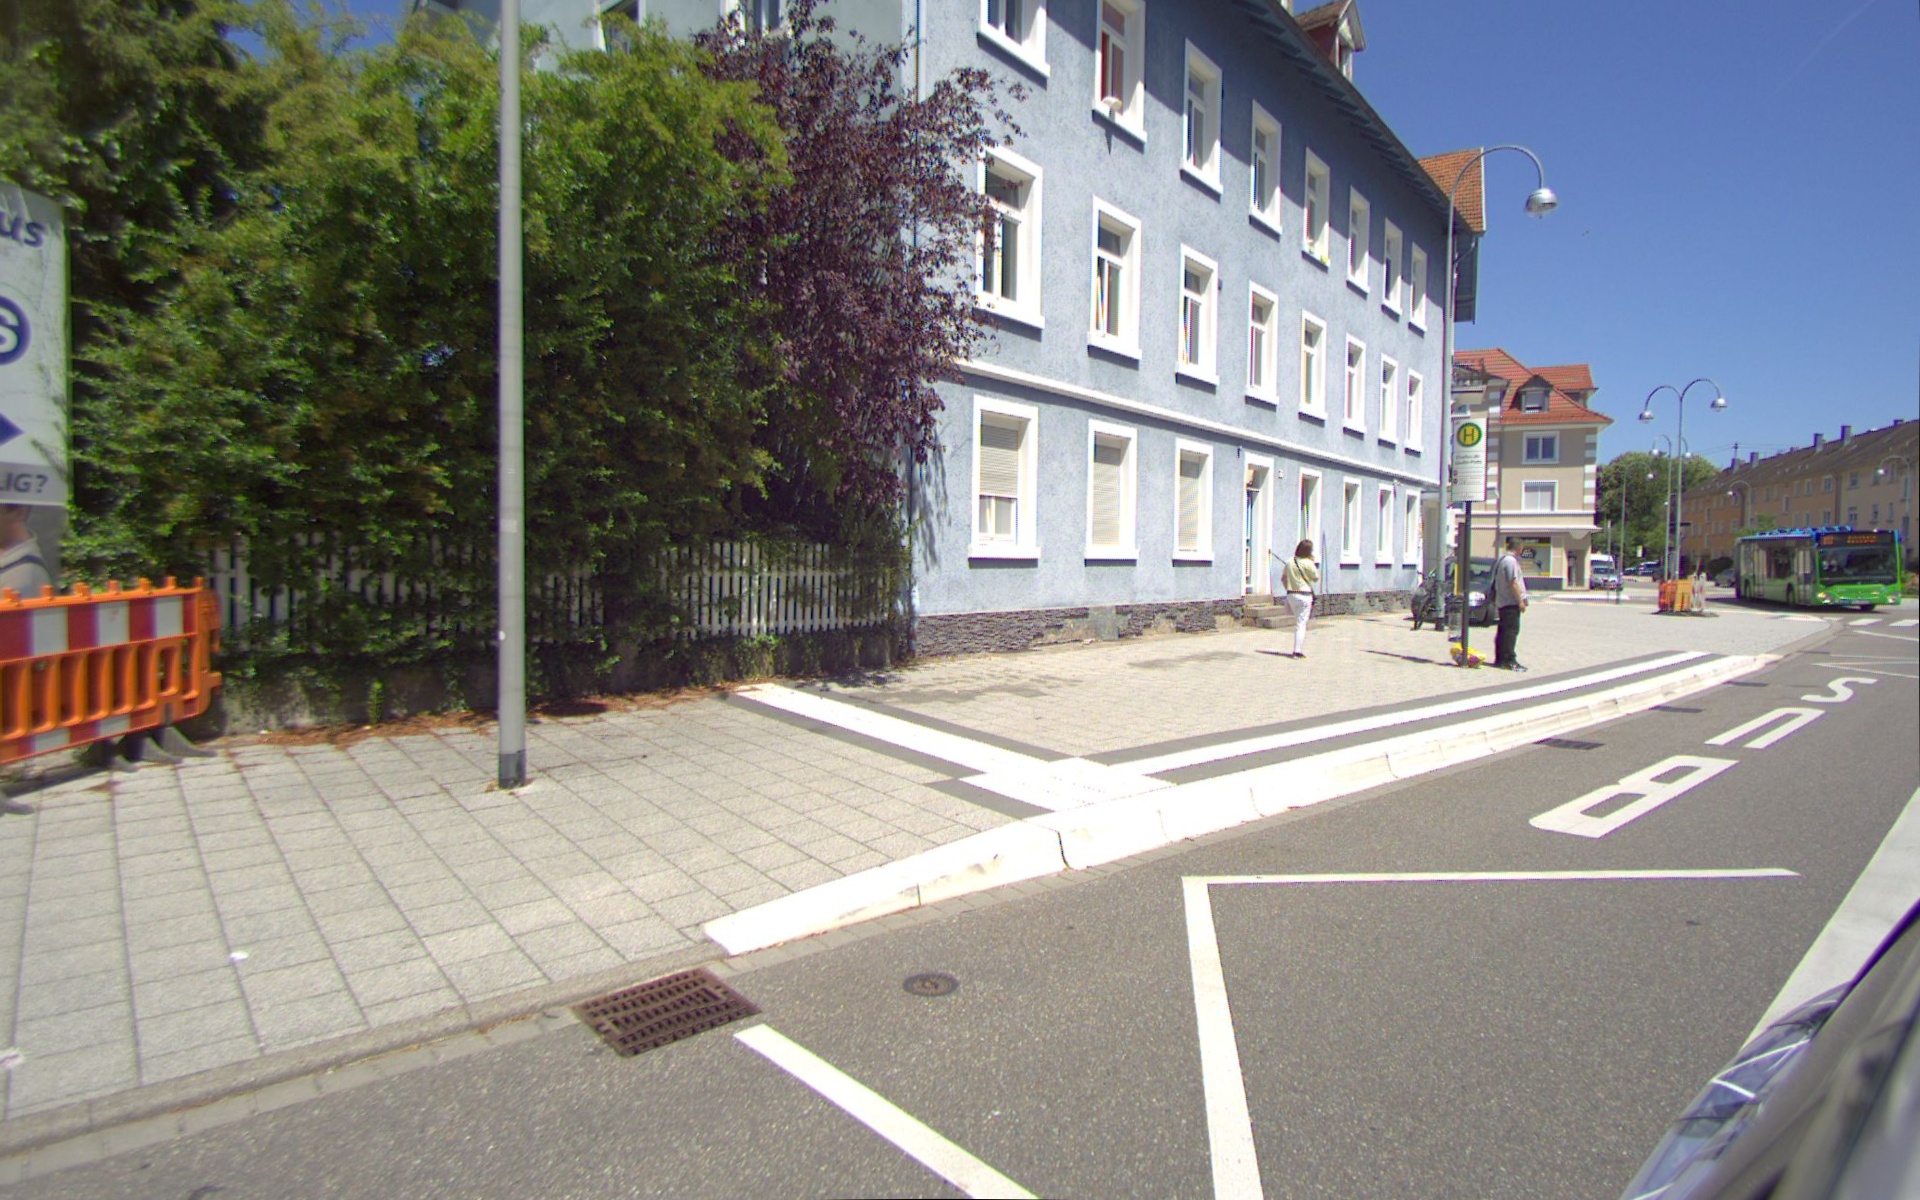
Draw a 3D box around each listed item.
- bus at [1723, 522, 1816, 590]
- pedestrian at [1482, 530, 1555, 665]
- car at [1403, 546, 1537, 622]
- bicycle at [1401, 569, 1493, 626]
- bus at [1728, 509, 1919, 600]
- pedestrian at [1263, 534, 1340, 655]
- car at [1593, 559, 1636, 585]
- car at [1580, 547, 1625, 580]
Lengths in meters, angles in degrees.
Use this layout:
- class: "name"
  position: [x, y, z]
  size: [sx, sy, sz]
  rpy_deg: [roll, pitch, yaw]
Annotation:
- class: "bus"
  position: [41.129, -2.088, 51.208]
  size: [2.920, 3.100, 12.371]
  rpy_deg: [0, 1, 42]
- class: "pedestrian"
  position: [7.909, -0.056, 14.362]
  size: [0.744, 1.826, 0.610]
  rpy_deg: [5, 5, 27]
- class: "car"
  position: [11.882, -0.422, 23.496]
  size: [1.759, 1.531, 3.684]
  rpy_deg: [7, 6, 42]
- class: "bicycle"
  position: [9.678, -0.062, 20.094]
  size: [1.845, 1.051, 0.635]
  rpy_deg: [0, 5, -29]
- class: "bus"
  position: [34.670, -1.686, 41.080]
  size: [2.882, 3.119, 12.457]
  rpy_deg: [0, 1, 25]
- class: "pedestrian"
  position: [4.797, -0.087, 14.212]
  size: [0.736, 1.635, 0.616]
  rpy_deg: [0, 4, -32]
- class: "car"
  position: [40.569, -1.770, 62.815]
  size: [1.810, 1.427, 3.964]
  rpy_deg: [4, 5, 27]
- class: "car"
  position: [52.073, -2.981, 82.137]
  size: [2.320, 2.486, 5.683]
  rpy_deg: [4, 4, 26]
